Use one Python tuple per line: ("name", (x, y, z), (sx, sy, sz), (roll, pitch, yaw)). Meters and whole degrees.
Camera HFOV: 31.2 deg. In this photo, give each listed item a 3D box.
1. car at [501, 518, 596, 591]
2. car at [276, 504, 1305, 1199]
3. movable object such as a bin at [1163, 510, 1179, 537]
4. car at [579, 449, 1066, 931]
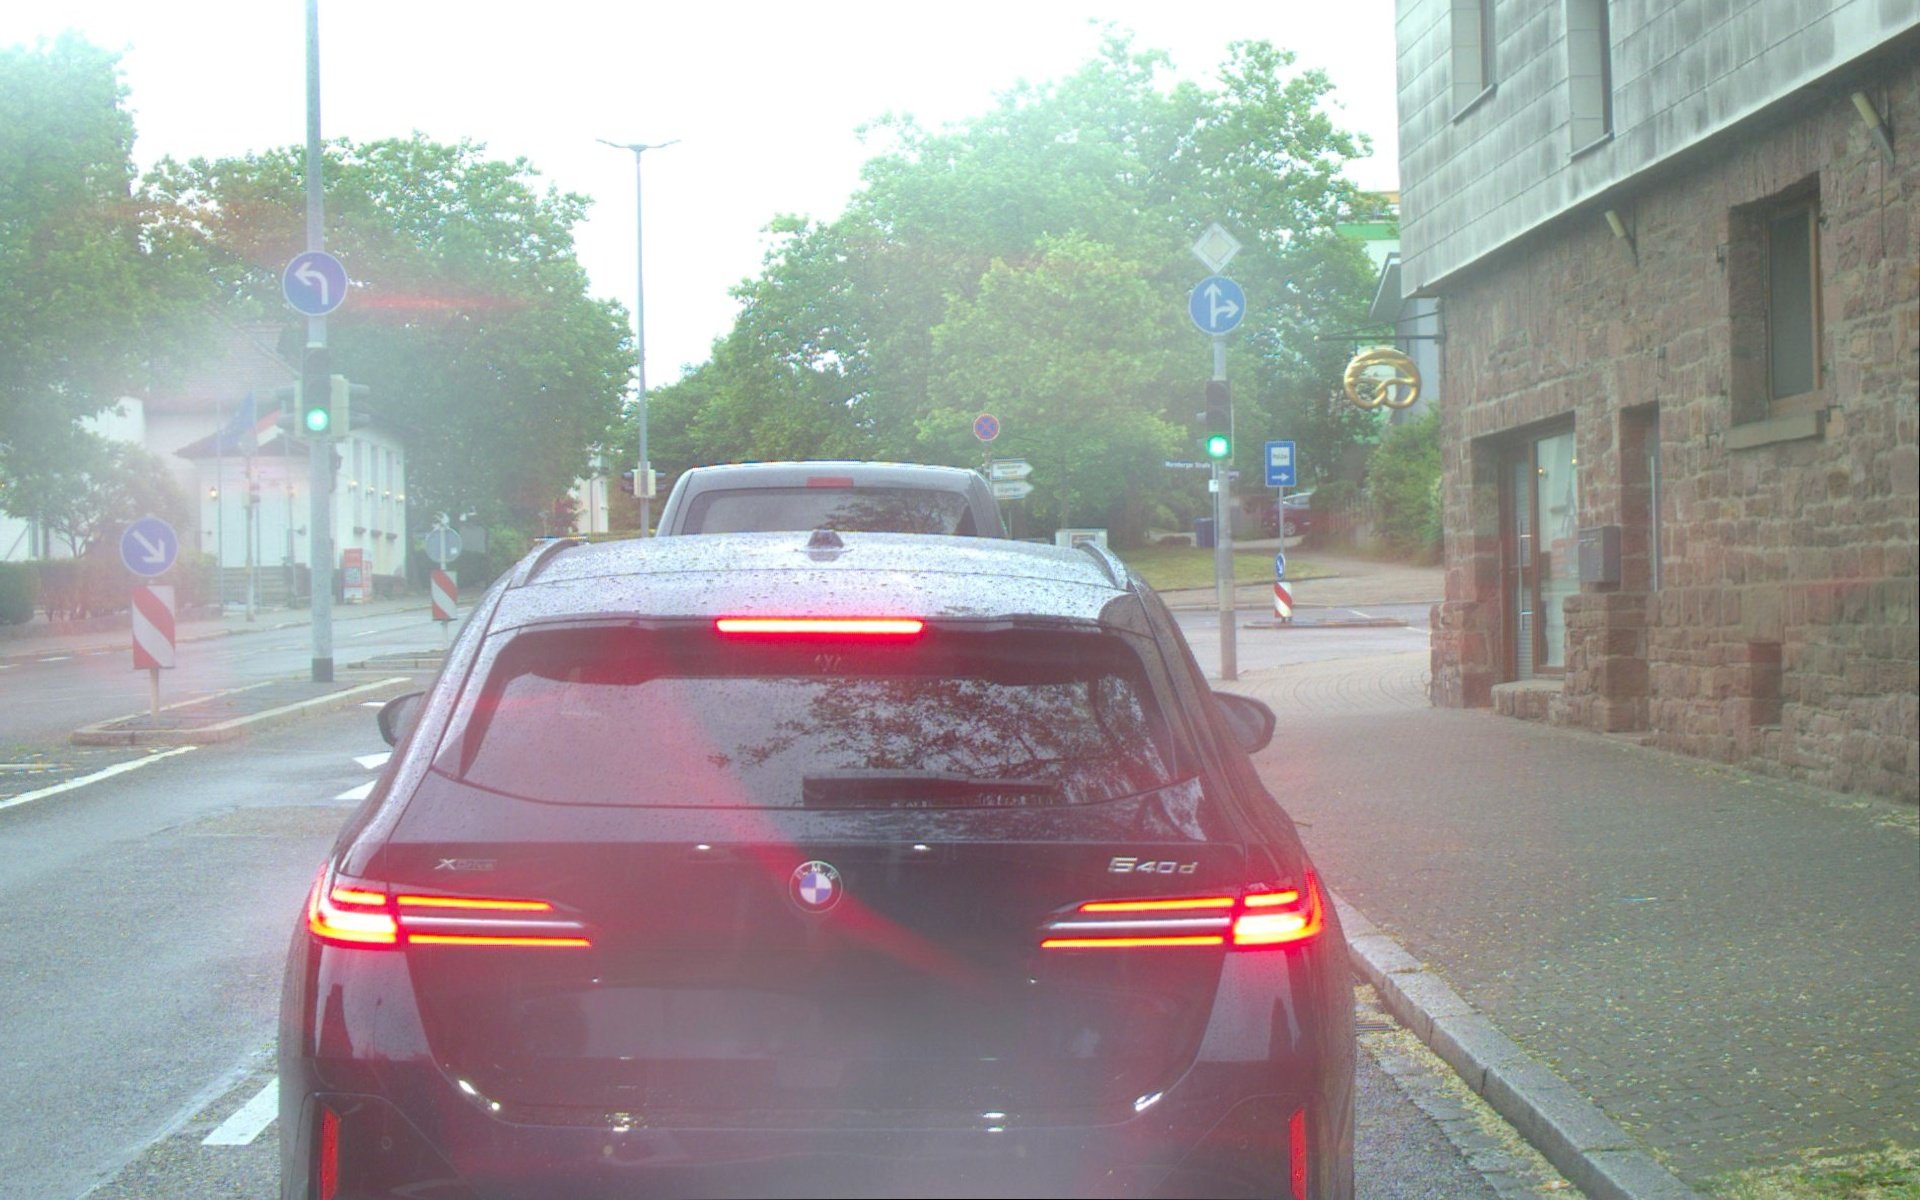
("car", (-9.459, -1.065, 79.345), (1.898, 1.572, 4.503), (-1, 2, -4))
("car", (-0.360, 0.615, 6.905), (1.523, 1.529, 3.532), (1, 0, -4))
("movable object such as a bin", (7.072, -2.555, 115.289), (0.450, 0.902, 0.462), (1, 0, 15))
("car", (-0.632, 0.325, 14.857), (1.812, 1.802, 3.757), (1, 0, -4))
